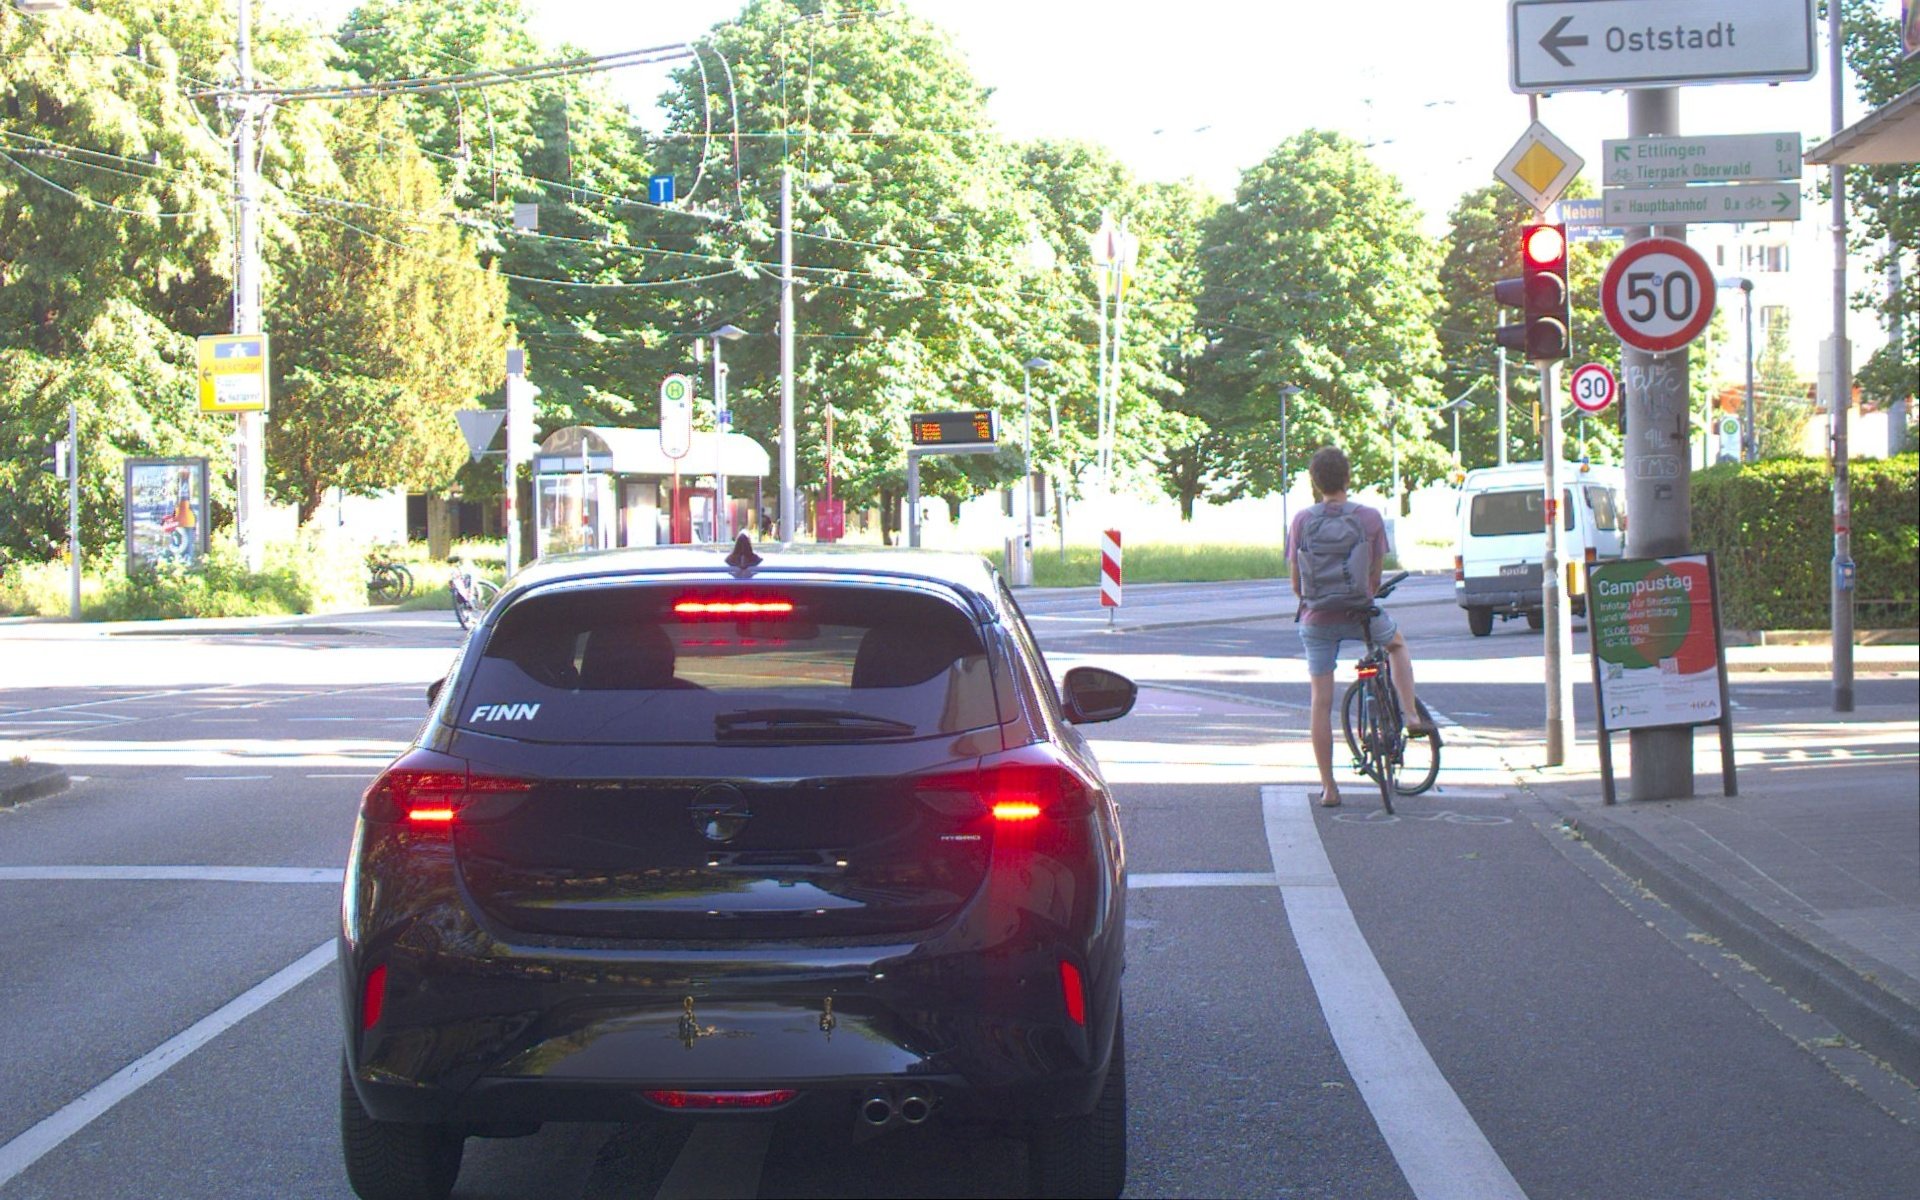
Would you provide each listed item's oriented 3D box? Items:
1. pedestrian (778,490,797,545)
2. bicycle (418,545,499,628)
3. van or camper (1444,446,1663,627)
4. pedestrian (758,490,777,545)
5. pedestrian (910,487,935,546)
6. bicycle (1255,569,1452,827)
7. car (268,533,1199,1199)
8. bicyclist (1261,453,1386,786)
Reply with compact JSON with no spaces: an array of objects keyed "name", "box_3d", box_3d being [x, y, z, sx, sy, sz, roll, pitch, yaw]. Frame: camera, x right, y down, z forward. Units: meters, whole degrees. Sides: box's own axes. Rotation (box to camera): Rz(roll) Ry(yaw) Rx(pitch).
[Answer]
[{"name":"pedestrian","box_3d":[-5.879,-2.816,117.328,0.603,1.865,0.519,1,0,-6]},{"name":"bicycle","box_3d":[-6.767,-0.196,46.479,0.796,1.061,2.185,0,1,-1]},{"name":"van or camper","box_3d":[8.045,-0.837,46.306,2.031,2.302,4.535,1,1,21]},{"name":"pedestrian","box_3d":[-6.596,-2.830,117.760,0.603,1.865,0.519,1,0,-6]},{"name":"pedestrian","box_3d":[-1.207,-2.684,110.620,0.603,1.865,0.519,1,0,-31]},{"name":"bicycle","box_3d":[2.078,0.474,17.920,0.753,1.231,2.014,0,1,14]},{"name":"car","box_3d":[-0.471,0.568,8.809,1.840,1.457,3.984,0,1,-1]},{"name":"bicyclist","box_3d":[1.882,0.090,17.748,0.534,1.686,0.567,0,1,17]}]
